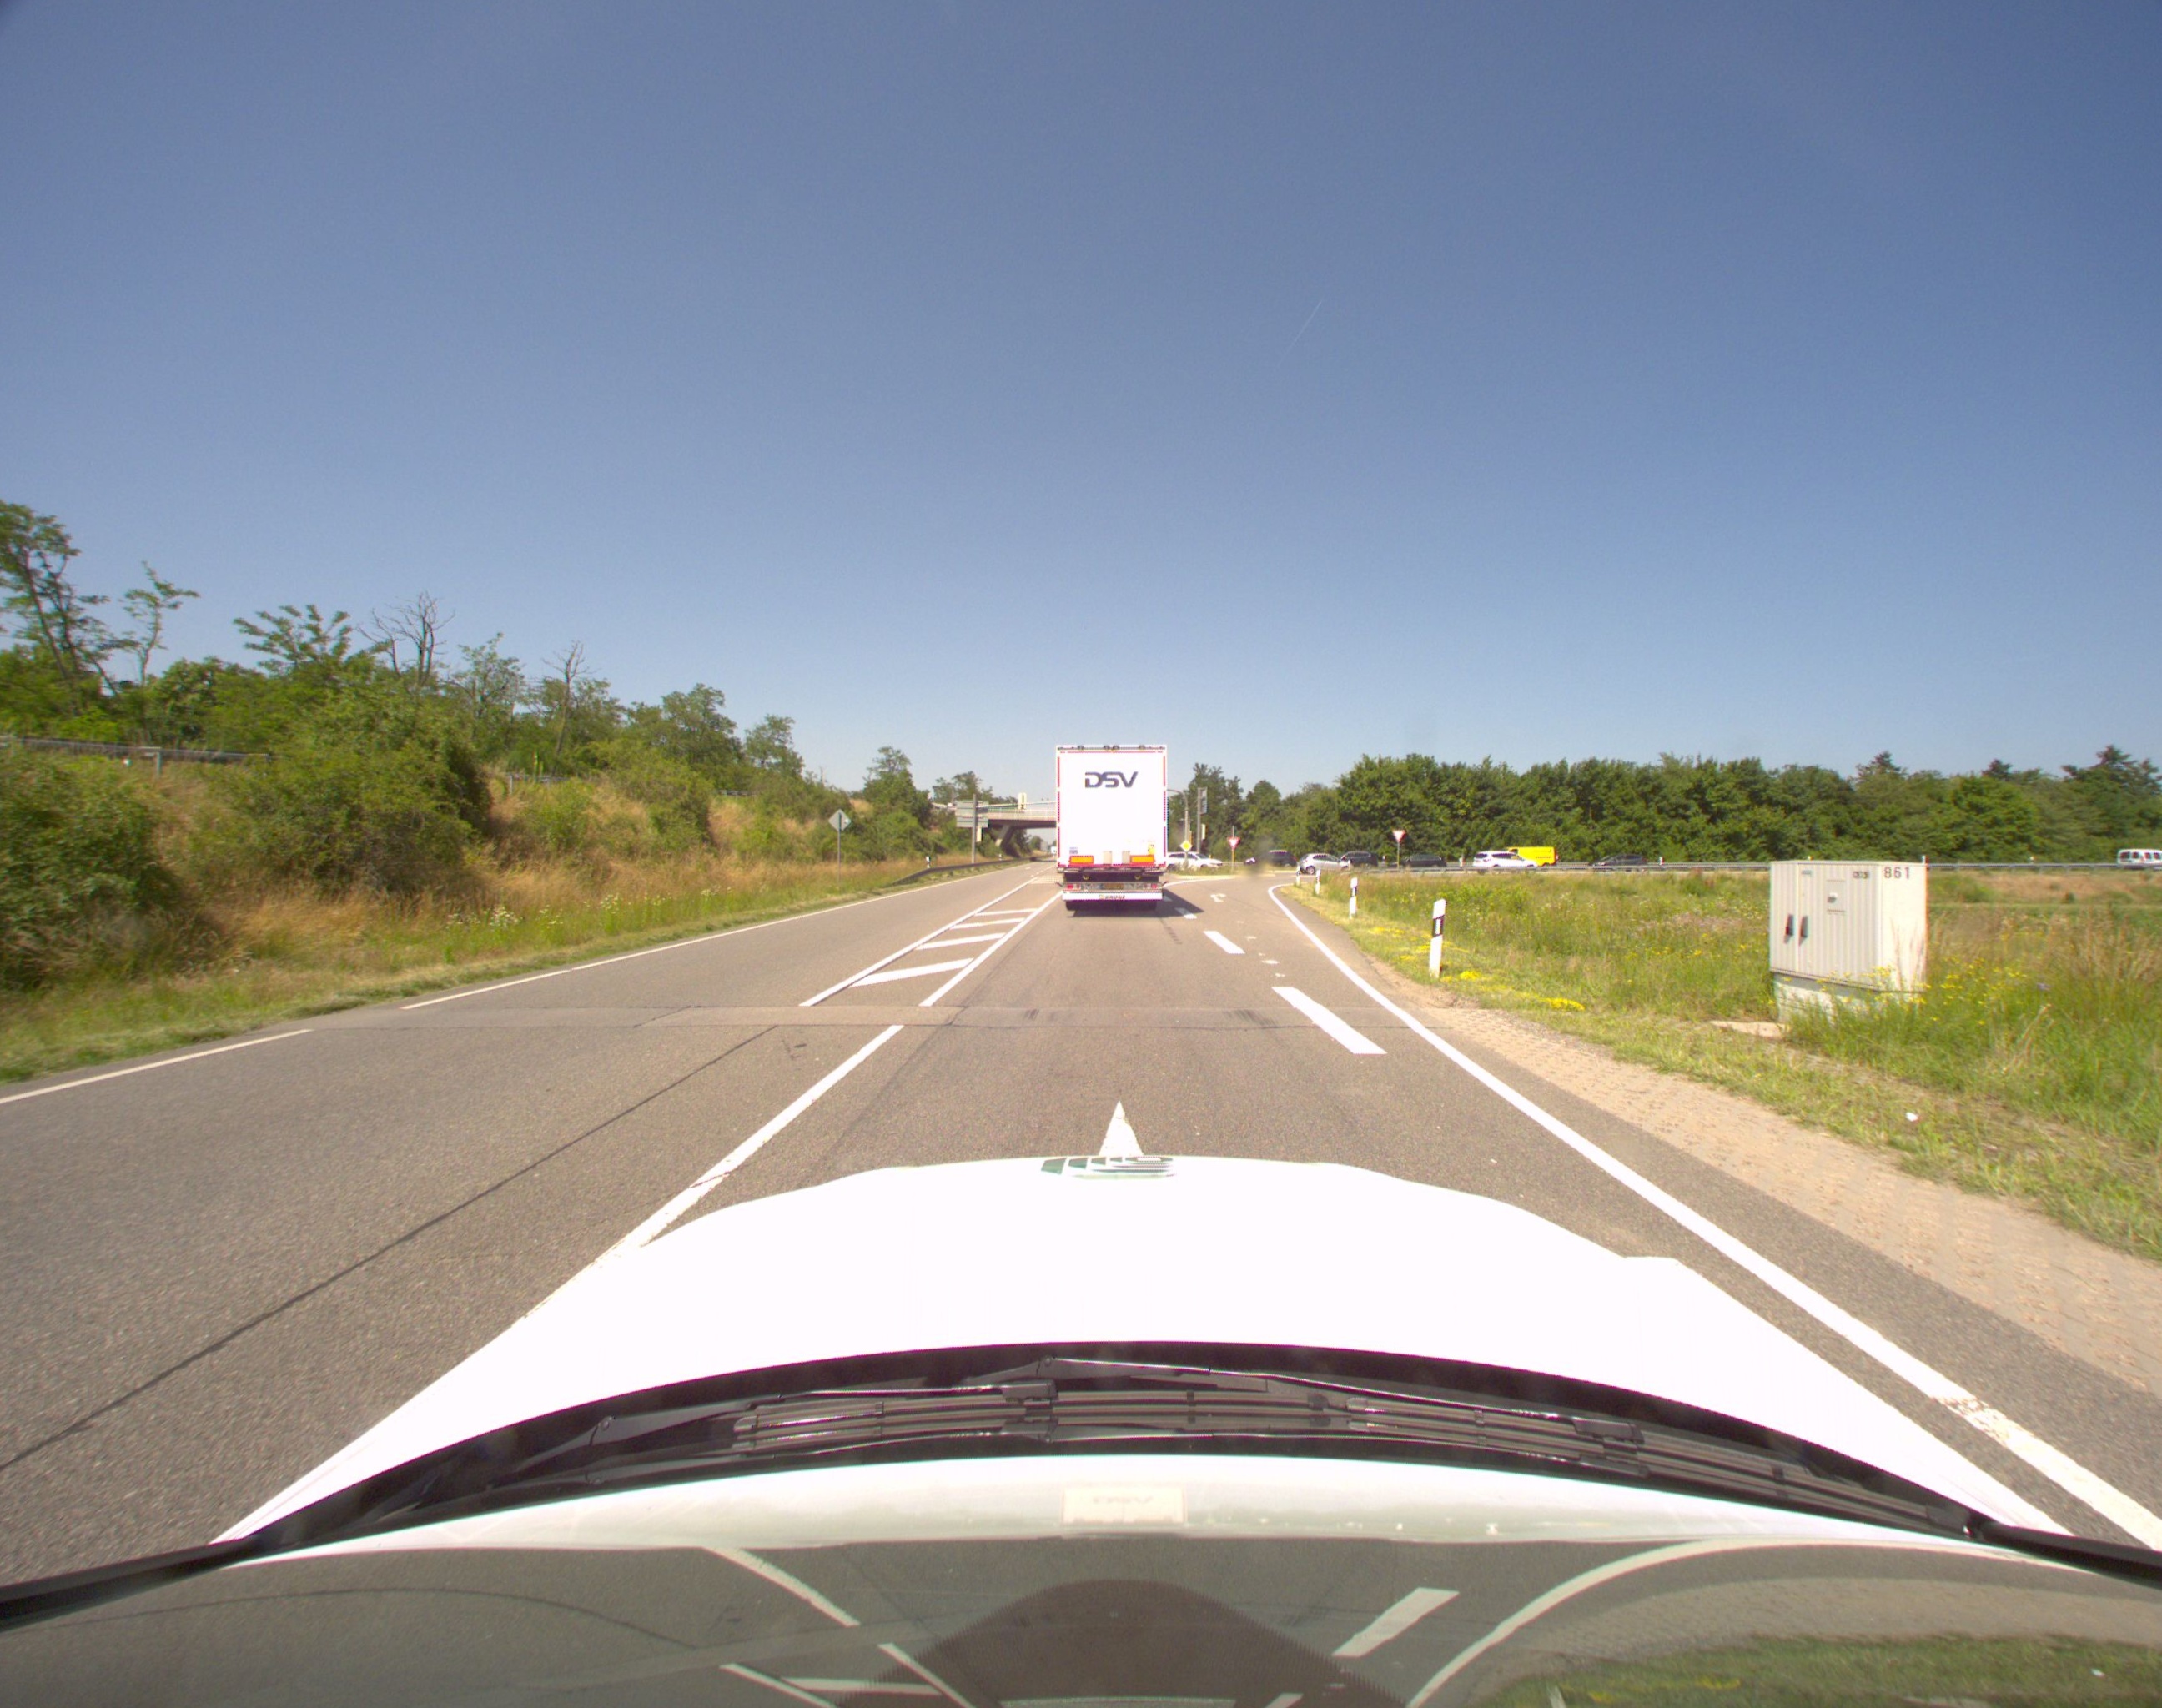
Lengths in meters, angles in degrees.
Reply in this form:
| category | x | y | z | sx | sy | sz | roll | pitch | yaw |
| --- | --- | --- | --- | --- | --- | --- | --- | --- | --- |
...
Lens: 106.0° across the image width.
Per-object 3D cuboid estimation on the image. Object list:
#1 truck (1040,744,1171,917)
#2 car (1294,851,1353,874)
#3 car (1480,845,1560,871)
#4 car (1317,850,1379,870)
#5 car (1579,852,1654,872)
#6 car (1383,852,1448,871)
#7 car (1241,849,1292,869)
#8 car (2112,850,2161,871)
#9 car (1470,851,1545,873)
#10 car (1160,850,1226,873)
| category | x | y | z | sx | sy | sz | roll | pitch | yaw |
| --- | --- | --- | --- | --- | --- | --- | --- | --- | --- |
| truck | 0.718 | -0.518 | 23.452 | 2.976 | 3.942 | 9.879 | 0 | 0 | 2 |
| car | 17.005 | 0.592 | 57.167 | 3.666 | 1.567 | 1.740 | 0 | -1 | 3 |
| car | 34.835 | 0.341 | 64.725 | 5.299 | 2.014 | 2.002 | 0 | -1 | 3 |
| car | 21.433 | 0.501 | 65.600 | 4.465 | 1.598 | 1.770 | 0 | -1 | 4 |
| car | 42.376 | 0.633 | 64.529 | 4.661 | 1.514 | 1.855 | 0 | -1 | 4 |
| car | 27.408 | 0.634 | 66.785 | 4.654 | 1.514 | 1.858 | 0 | -1 | 9 |
| car | 15.404 | 0.454 | 67.850 | 3.963 | 1.640 | 1.845 | 0 | -1 | 8 |
| car | 82.464 | 0.512 | 62.750 | 3.977 | 1.569 | 1.716 | 0 | -1 | -2 |
| car | 30.151 | 0.560 | 57.618 | 4.463 | 1.567 | 1.735 | 0 | -1 | -7 |
| car | 8.098 | 0.568 | 59.034 | 4.425 | 1.567 | 1.750 | -2 | 0 | 31 |
